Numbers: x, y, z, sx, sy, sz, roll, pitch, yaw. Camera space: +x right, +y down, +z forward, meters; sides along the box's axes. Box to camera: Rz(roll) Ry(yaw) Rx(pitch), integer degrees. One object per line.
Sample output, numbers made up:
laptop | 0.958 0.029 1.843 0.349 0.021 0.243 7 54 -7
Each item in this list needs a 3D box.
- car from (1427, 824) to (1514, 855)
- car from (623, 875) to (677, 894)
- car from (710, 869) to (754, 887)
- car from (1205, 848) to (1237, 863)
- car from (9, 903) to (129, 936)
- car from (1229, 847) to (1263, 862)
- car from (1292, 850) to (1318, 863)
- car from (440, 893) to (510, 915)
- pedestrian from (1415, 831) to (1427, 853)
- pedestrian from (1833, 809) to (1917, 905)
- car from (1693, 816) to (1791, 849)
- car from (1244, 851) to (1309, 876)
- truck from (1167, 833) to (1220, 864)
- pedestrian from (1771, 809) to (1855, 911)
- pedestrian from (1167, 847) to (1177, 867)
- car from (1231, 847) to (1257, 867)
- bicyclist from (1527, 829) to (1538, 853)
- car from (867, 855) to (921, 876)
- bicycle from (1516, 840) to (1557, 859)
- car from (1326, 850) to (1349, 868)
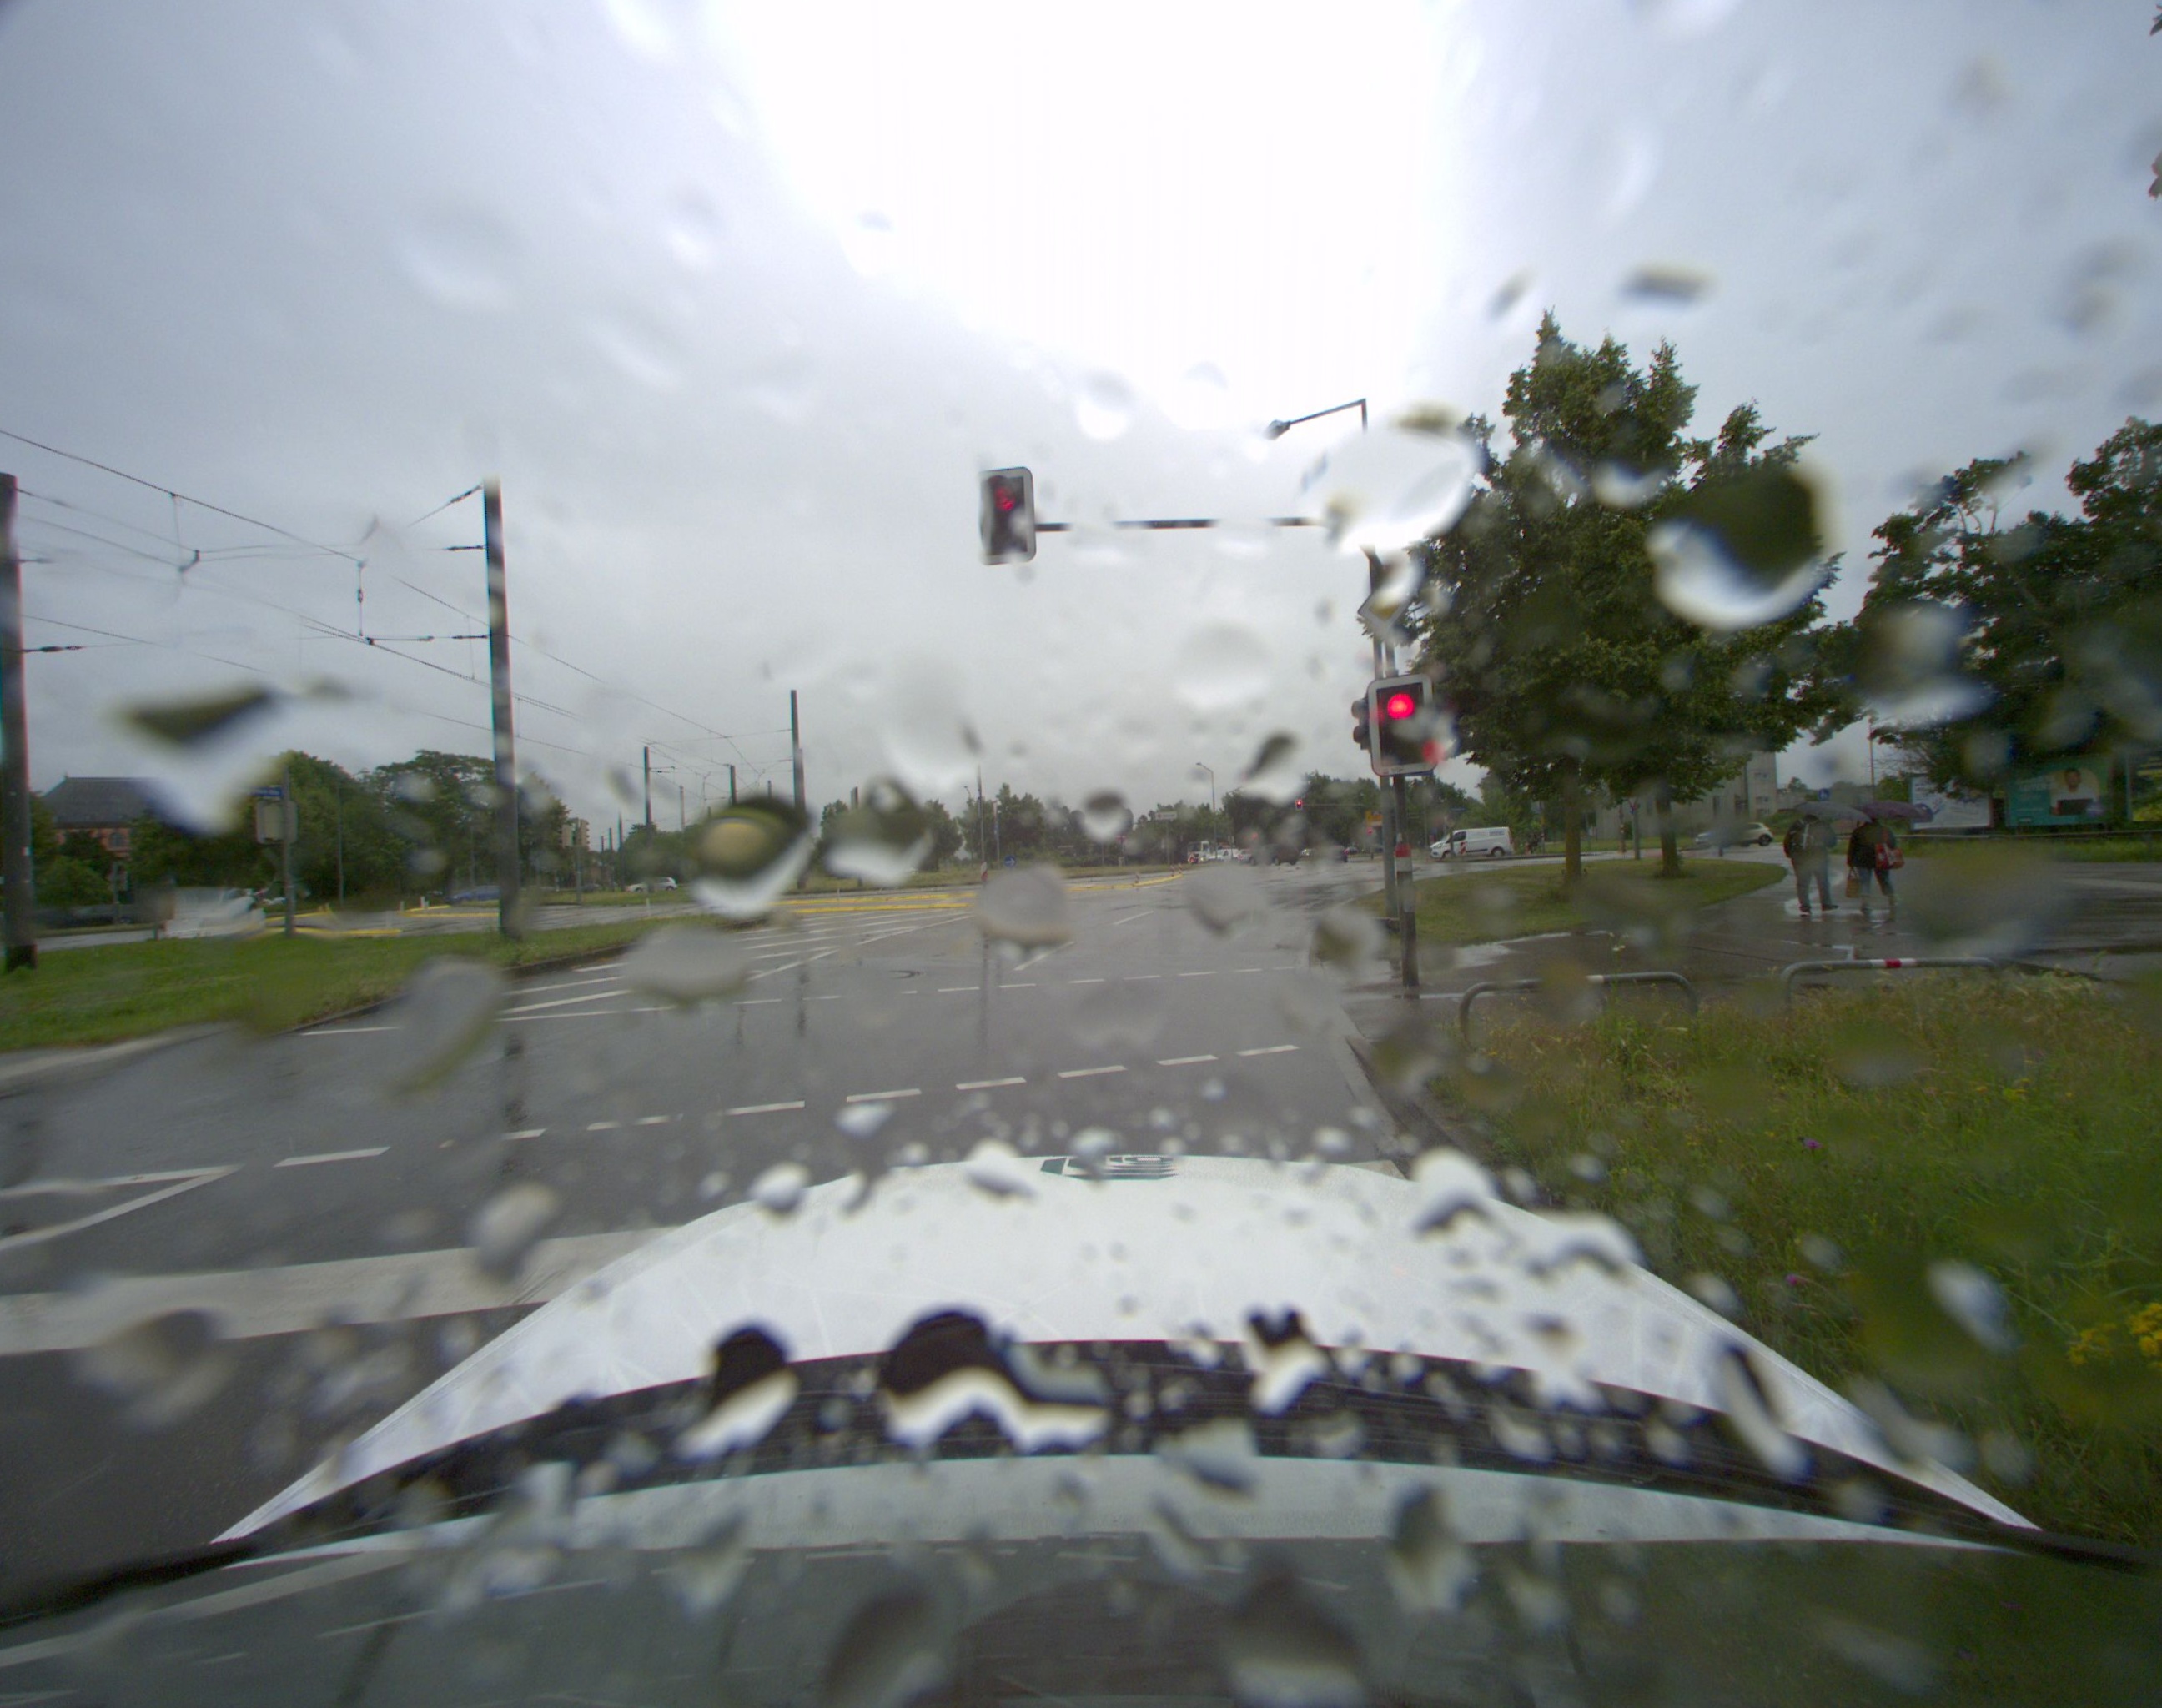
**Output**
car | 25.006 -0.923 52.425 4.729 1.851 2.006 0 -1 11
car | -37.756 2.645 71.370 4.007 1.454 1.605 -2 0 -38
car | -37.003 2.510 86.399 1.660 1.816 4.025 -1 -1 31
car | 16.539 0.168 95.917 1.779 1.662 4.159 -1 -1 43
car | -55.628 3.579 44.823 1.602 1.454 4.013 -3 0 35
car | 19.109 0.127 94.333 1.779 1.662 4.436 -1 -1 43
car | 29.472 0.298 107.245 1.779 1.662 4.025 -1 -1 39
car | -46.902 3.843 63.078 1.602 1.454 4.013 -3 0 35
pedestrian | 29.071 -1.057 69.668 0.811 1.868 0.670 0 -1 9
pedestrian | 12.652 0.043 12.997 0.678 1.461 0.573 -3 -1 -3
car | 41.965 -1.371 51.783 4.753 1.851 1.996 -3 0 -5
car | 14.989 0.778 62.738 2.009 1.851 4.723 0 -1 -36
truck | 10.346 -0.404 74.057 2.439 2.686 8.105 -1 -1 25
pedestrian | 11.233 0.089 12.519 0.619 1.522 0.741 -1 0 0
pedestrian | 6.063 0.230 54.366 0.448 1.304 0.489 -3 -1 40
car | 15.147 0.305 75.484 1.979 1.851 4.794 -1 -1 15
bicyclist | 32.834 -0.942 59.190 0.583 1.742 0.499 -2 -2 45
car | -18.333 1.115 79.891 4.742 1.851 2.001 -2 0 2
bicycle | 33.014 -0.339 59.041 2.478 1.314 0.575 -1 -2 42
car | 22.273 0.417 70.730 1.606 1.454 4.003 -2 0 14
